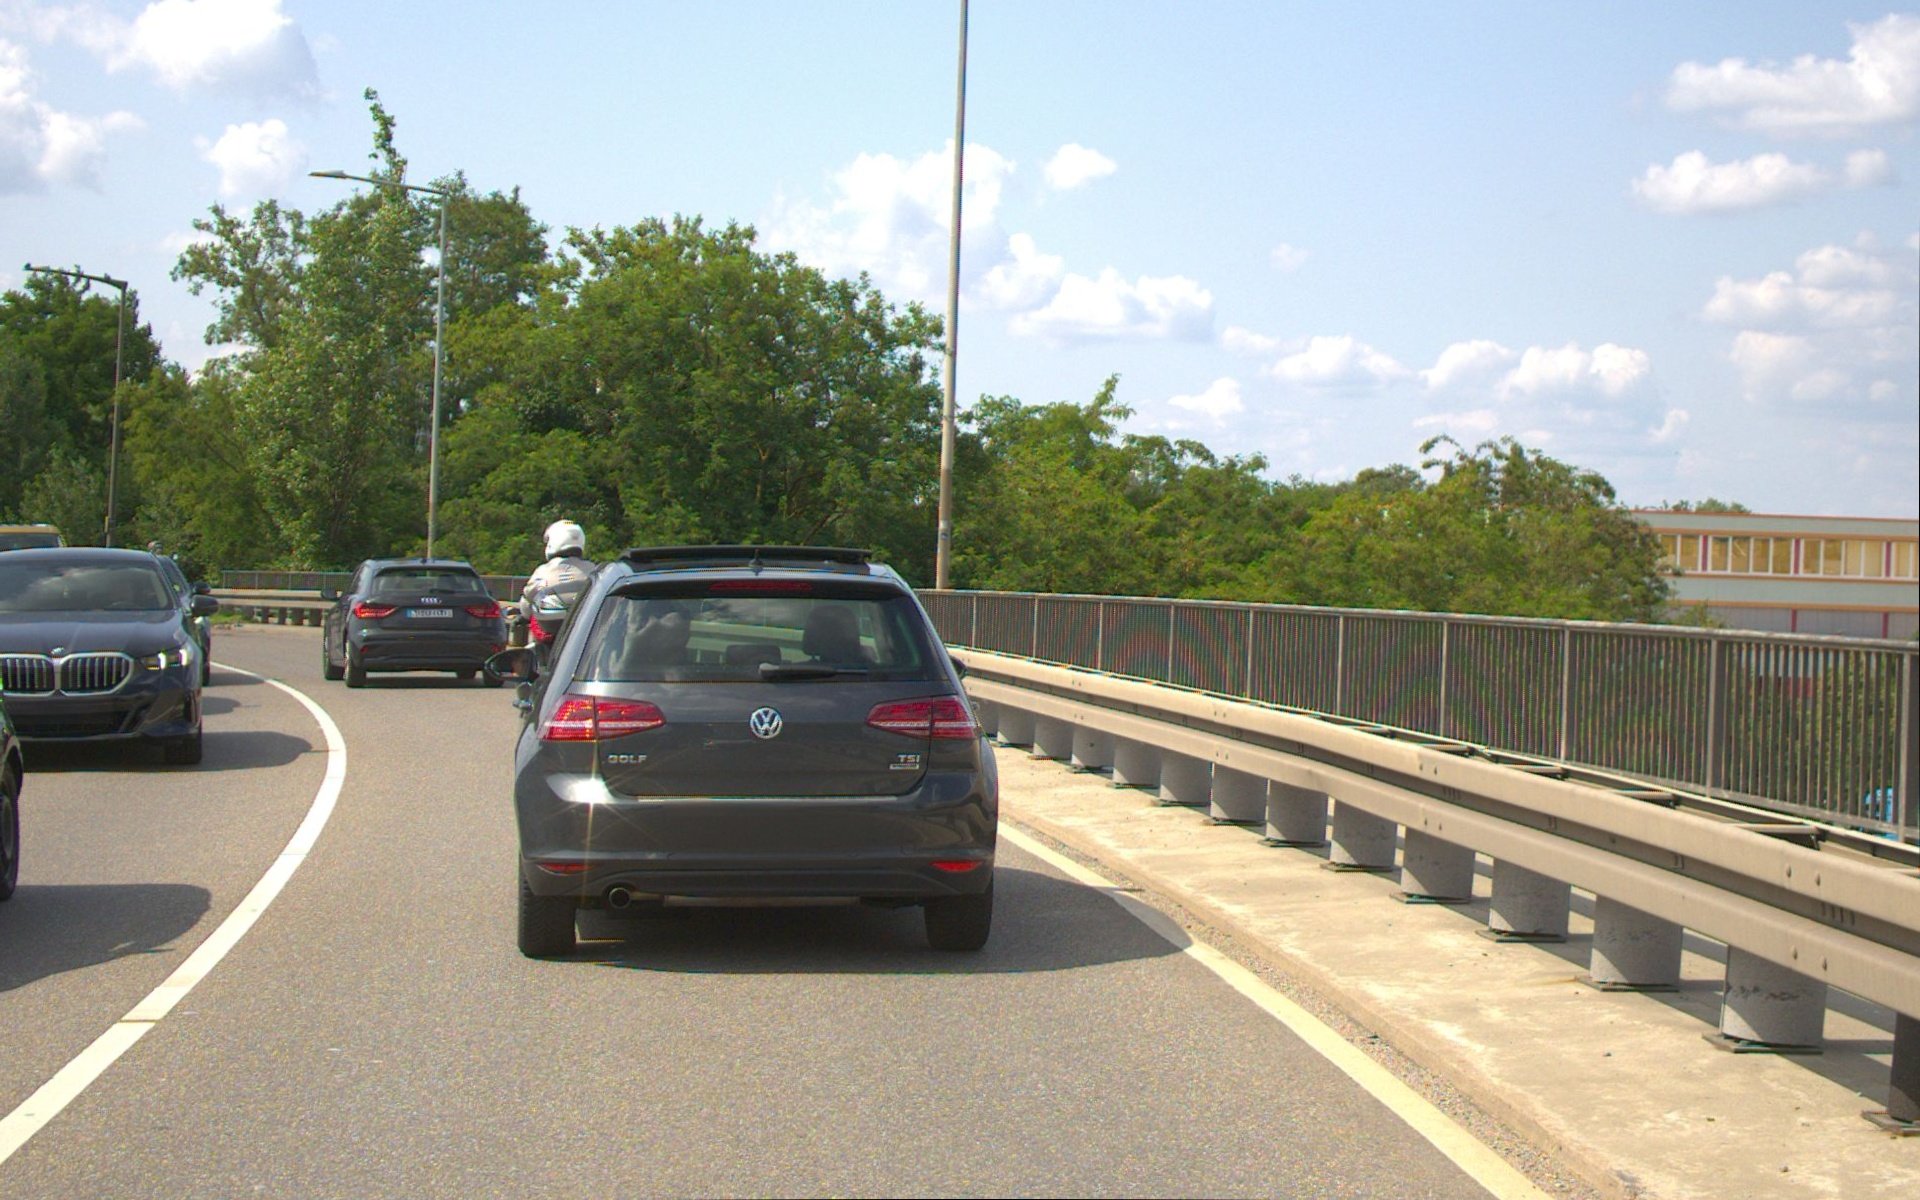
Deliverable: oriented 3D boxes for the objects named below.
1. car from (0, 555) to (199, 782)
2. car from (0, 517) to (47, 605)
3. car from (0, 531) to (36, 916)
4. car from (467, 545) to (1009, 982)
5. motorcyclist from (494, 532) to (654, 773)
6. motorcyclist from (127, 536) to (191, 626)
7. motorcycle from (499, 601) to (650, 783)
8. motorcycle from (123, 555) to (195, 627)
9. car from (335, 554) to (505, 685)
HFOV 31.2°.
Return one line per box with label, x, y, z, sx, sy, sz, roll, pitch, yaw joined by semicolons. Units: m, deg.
car;-6.331;0.423;24.141;1.876;1.437;3.887;-1;1;-13
car;-16.092;-0.632;56.594;1.876;1.397;3.887;-1;1;-17
car;-4.691;0.547;12.896;1.683;1.591;4.284;-1;1;-6
car;-1.019;0.539;13.644;1.642;1.474;3.873;0;0;-11
motorcyclist;-2.668;0.347;23.685;0.965;1.615;1.125;1;1;-12
motorcyclist;-14.302;-0.348;61.357;0.965;1.590;1.125;1;1;-20
motorcycle;-2.652;0.595;23.461;0.789;1.128;2.400;0;1;-12
motorcycle;-14.297;-0.178;61.329;0.887;1.243;2.400;0;1;-22
car;-6.073;0.221;38.391;1.681;1.383;3.740;0;0;-12
